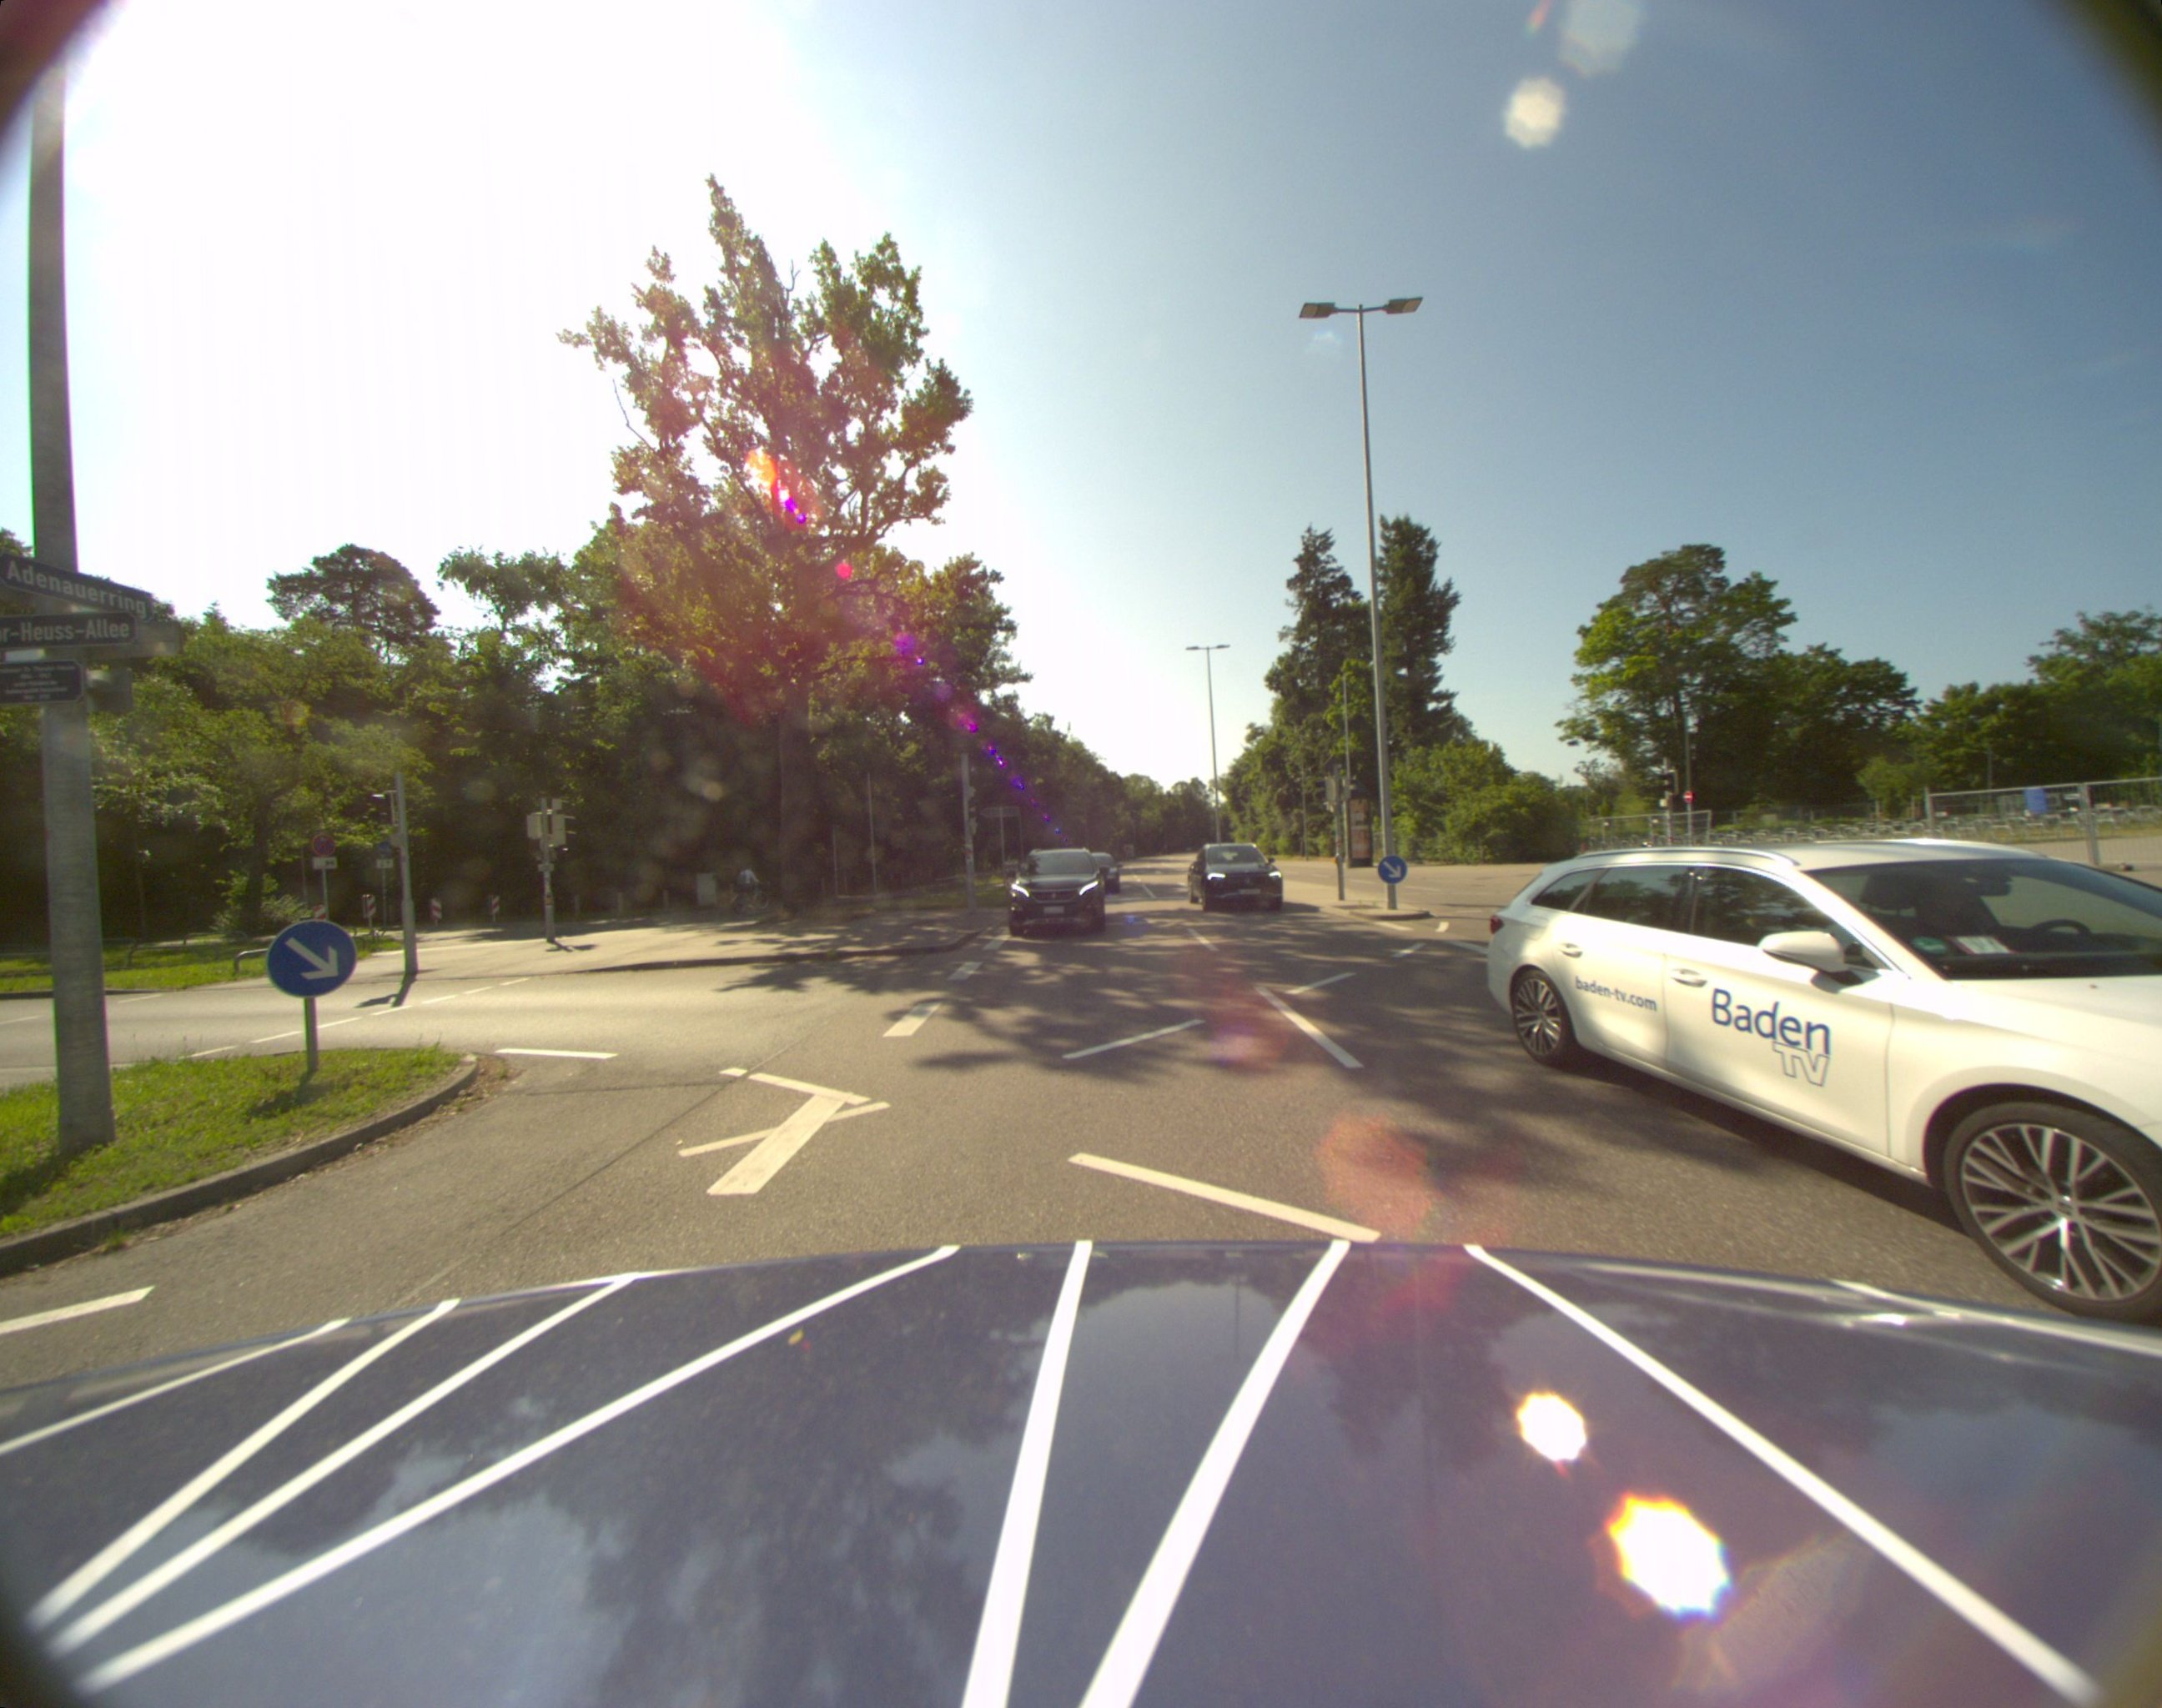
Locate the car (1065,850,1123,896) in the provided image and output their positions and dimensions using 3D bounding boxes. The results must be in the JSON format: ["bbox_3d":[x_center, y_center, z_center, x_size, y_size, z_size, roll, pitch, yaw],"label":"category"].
[{"bbox_3d":[0.473,0.644,28.383,1.933,1.499,4.000,-3,0,0],"label":"car"}]

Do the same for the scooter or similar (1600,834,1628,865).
[{"bbox_3d":[21.989,-0.181,31.353,1.082,1.215,0.395,-3,1,-22],"label":"scooter or similar"}]

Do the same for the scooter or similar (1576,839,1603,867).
[{"bbox_3d":[21.034,-0.050,31.434,0.395,1.139,1.197,-3,1,7],"label":"scooter or similar"}]

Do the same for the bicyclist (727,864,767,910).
[{"bbox_3d":[-12.532,1.226,28.540,0.724,1.629,1.059,-2,1,24],"label":"bicyclist"}]

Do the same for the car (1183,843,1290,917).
[{"bbox_3d":[3.775,0.549,19.193,1.809,1.587,4.272,-2,1,0],"label":"car"}]

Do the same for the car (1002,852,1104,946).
[{"bbox_3d":[-0.436,0.791,15.597,1.702,1.581,4.319,-3,0,2],"label":"car"}]

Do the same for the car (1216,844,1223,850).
[{"bbox_3d":[42.430,-2.080,232.699,1.875,1.849,4.003,-3,0,12],"label":"car"}]

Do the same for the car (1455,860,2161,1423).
[{"bbox_3d":[3.792,0.797,3.615,1.729,1.418,4.719,-2,0,1],"label":"car"}]

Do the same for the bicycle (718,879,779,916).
[{"bbox_3d":[-12.493,1.619,28.607,0.724,1.192,2.104,-2,1,24],"label":"bicycle"}]
